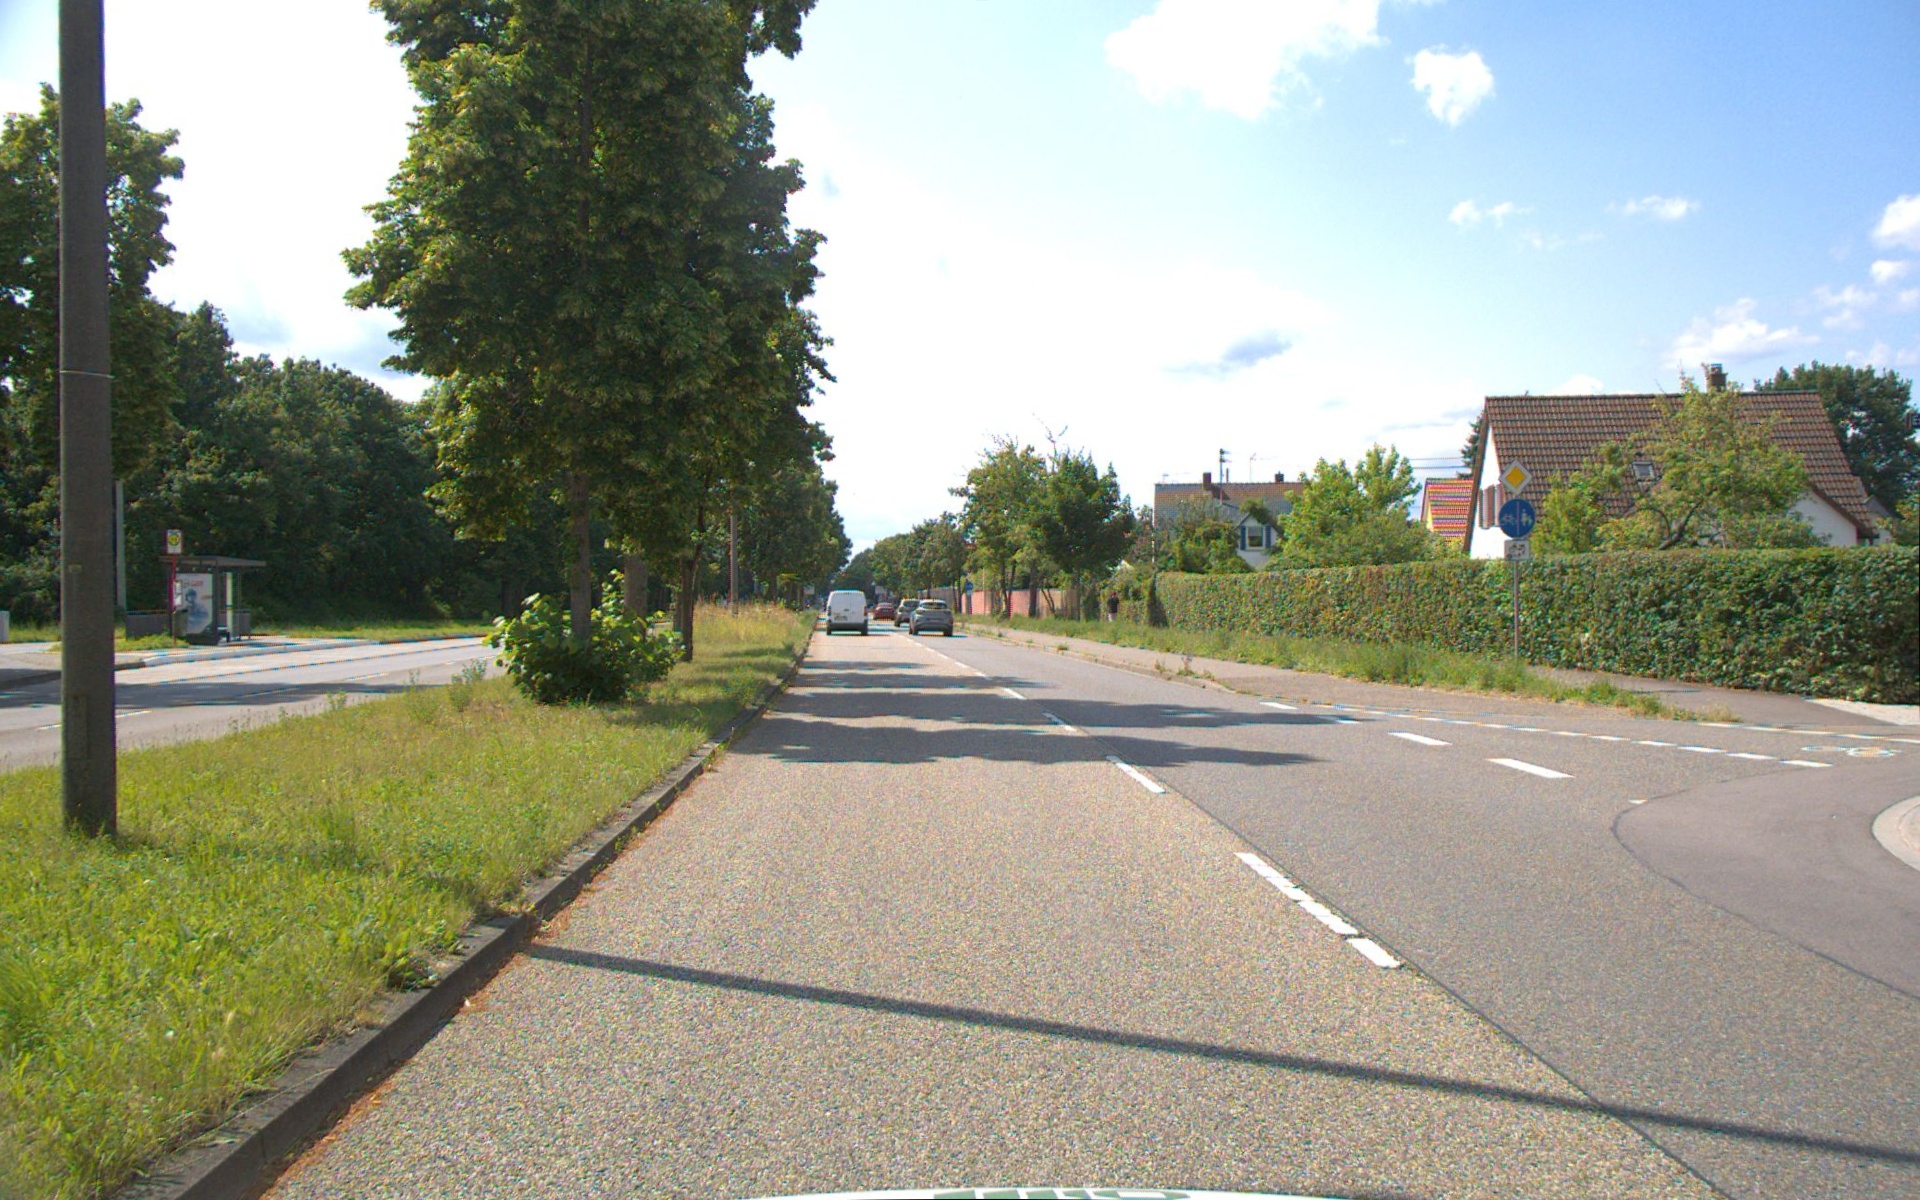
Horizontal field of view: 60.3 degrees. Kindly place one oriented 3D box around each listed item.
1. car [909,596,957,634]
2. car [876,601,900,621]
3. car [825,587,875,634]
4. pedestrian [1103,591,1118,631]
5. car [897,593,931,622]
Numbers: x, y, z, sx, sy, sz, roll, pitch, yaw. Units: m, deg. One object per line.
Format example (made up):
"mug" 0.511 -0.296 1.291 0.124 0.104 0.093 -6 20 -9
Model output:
"car" -1.202 0.654 72.342 1.838 1.617 4.180 0 0 -4
"car" -5.975 0.936 136.686 1.843 1.615 3.996 0 0 -5
"car" -4.721 0.420 70.458 2.025 1.945 4.642 0 0 -5
"pedestrian" 6.443 0.469 70.765 0.549 1.706 0.633 0 0 -5
"car" -2.744 0.451 98.448 1.838 1.681 3.996 0 0 -4
